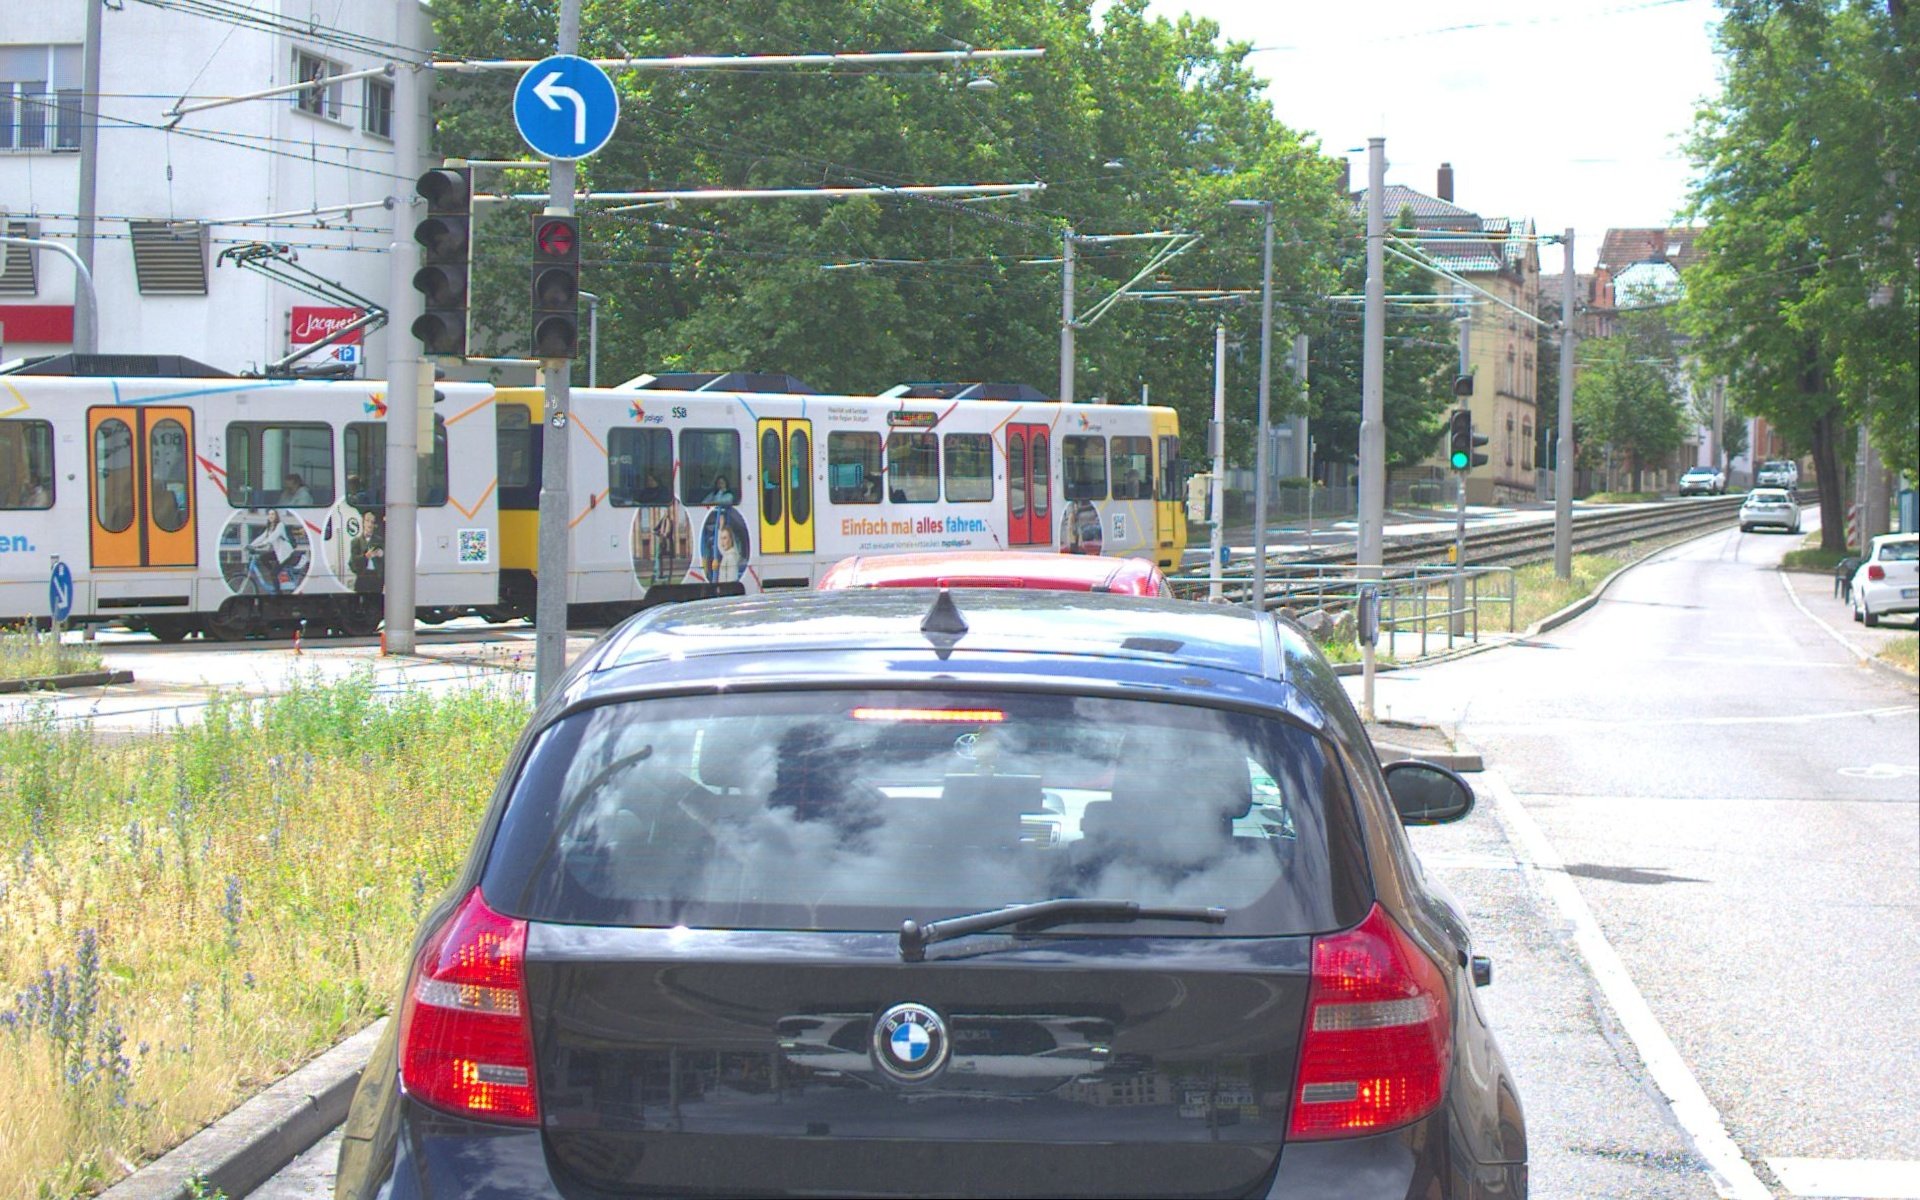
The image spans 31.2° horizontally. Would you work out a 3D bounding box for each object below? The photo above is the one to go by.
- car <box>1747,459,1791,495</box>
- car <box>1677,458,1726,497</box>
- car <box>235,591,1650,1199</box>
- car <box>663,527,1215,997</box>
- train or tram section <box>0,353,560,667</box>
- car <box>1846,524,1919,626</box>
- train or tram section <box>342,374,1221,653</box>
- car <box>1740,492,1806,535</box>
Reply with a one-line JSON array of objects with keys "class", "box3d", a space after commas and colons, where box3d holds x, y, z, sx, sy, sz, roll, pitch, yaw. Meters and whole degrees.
[{"class": "car", "box3d": [48.728, -7.374, 207.039, 1.996, 2.007, 3.996, 0, 0, 21]}, {"class": "car", "box3d": [40.495, -6.669, 187.741, 1.996, 2.007, 3.996, 0, 0, 21]}, {"class": "car", "box3d": [-0.108, 0.714, 6.141, 1.701, 1.447, 4.000, 0, 0, -3]}, {"class": "car", "box3d": [0.074, 0.504, 12.817, 1.625, 1.468, 3.999, 0, 0, 6]}, {"class": "train or tram section", "box3d": [-14.847, -1.082, 42.363, 20.572, 3.866, 3.761, -1, 0, -37]}, {"class": "car", "box3d": [15.379, -0.410, 55.856, 1.788, 1.590, 3.998, 0, 0, 13]}, {"class": "train or tram section", "box3d": [-1.966, -1.241, 56.456, 3.756, 3.801, 20.016, 0, 0, 31]}, {"class": "car", "box3d": [27.934, -2.961, 118.070, 1.817, 1.463, 3.996, 0, 1, 19]}]
